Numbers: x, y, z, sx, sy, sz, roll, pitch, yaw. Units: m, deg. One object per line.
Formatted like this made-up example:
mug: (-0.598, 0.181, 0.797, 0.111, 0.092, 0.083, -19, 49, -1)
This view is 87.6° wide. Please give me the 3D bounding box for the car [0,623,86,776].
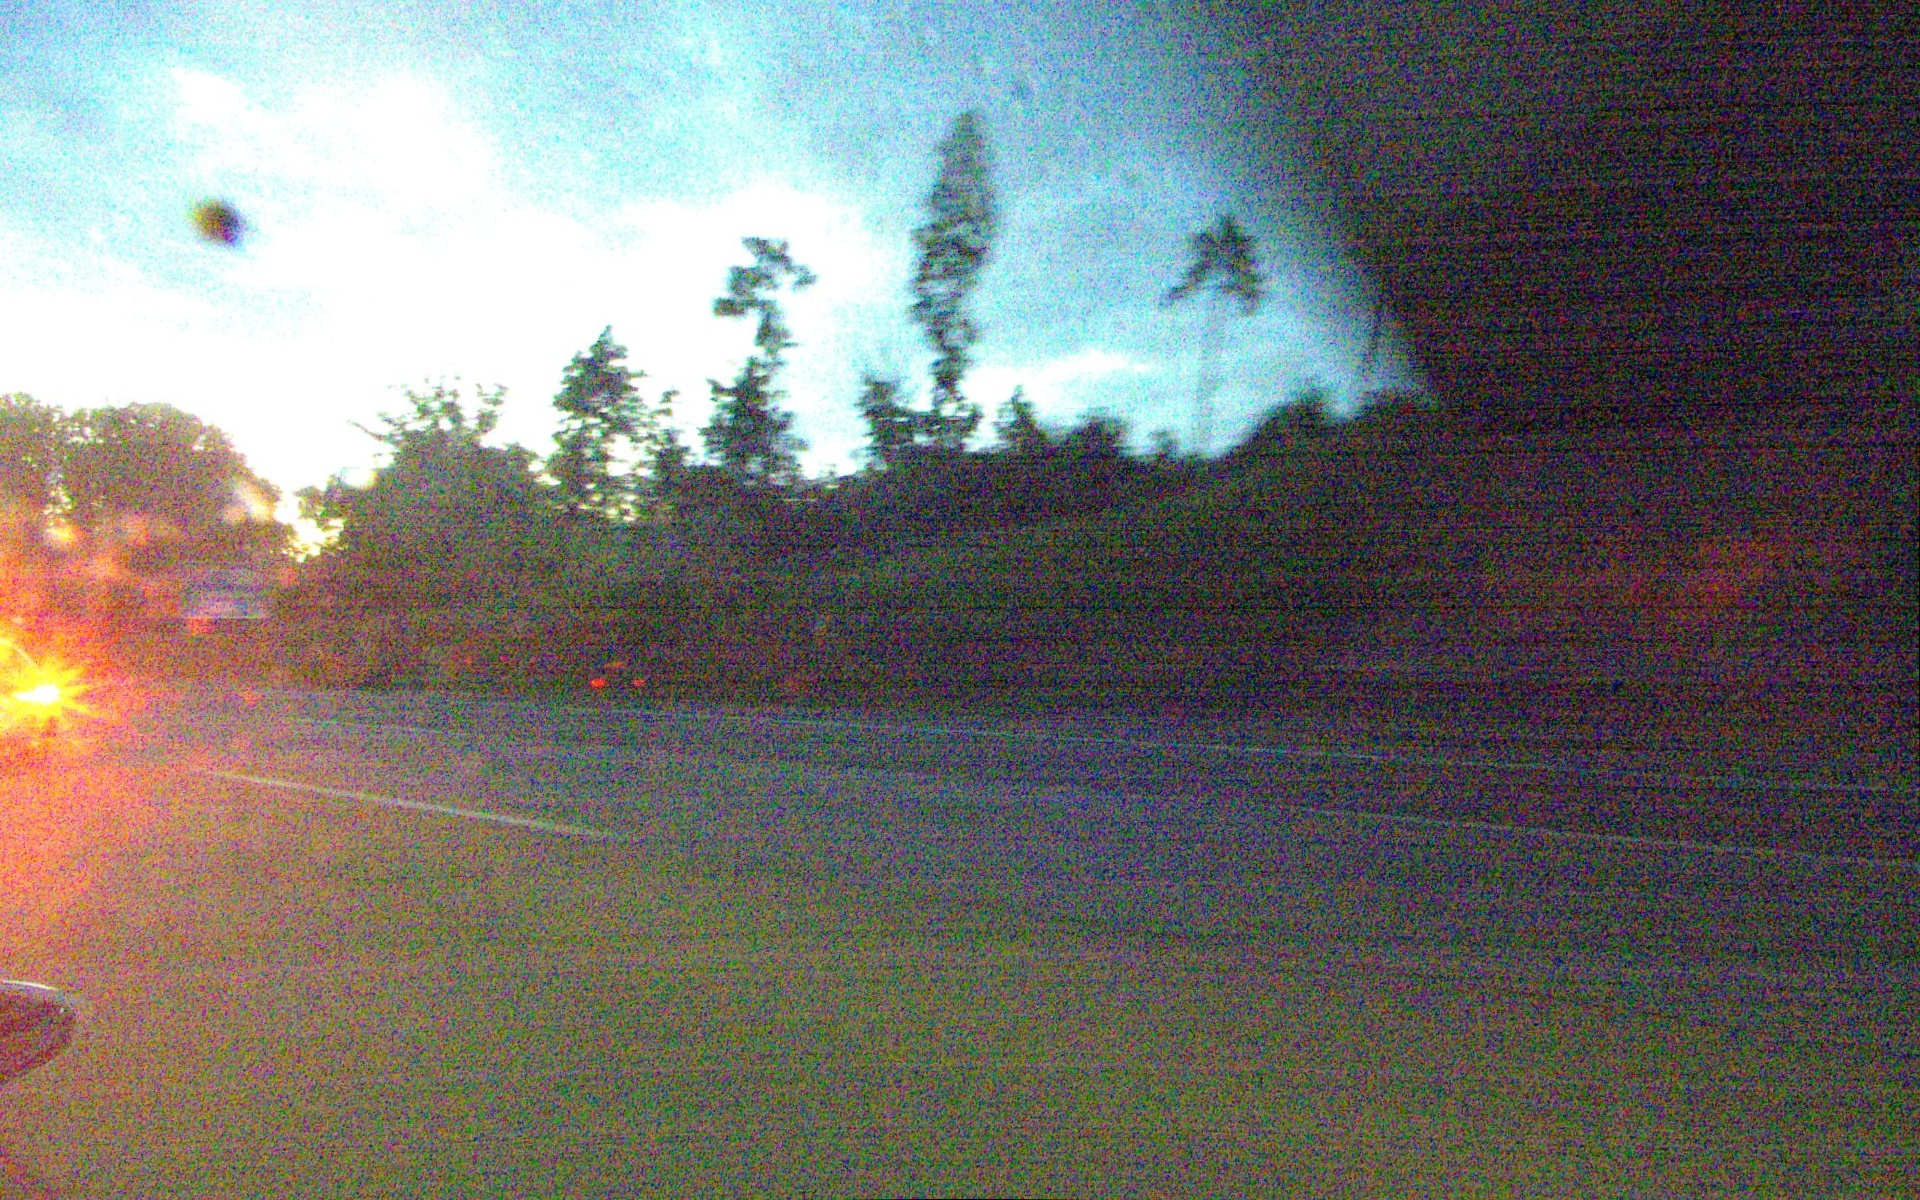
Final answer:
car: (-12.296, 1.050, 11.624, 5.157, 1.557, 1.905, 0, -1, 33)
